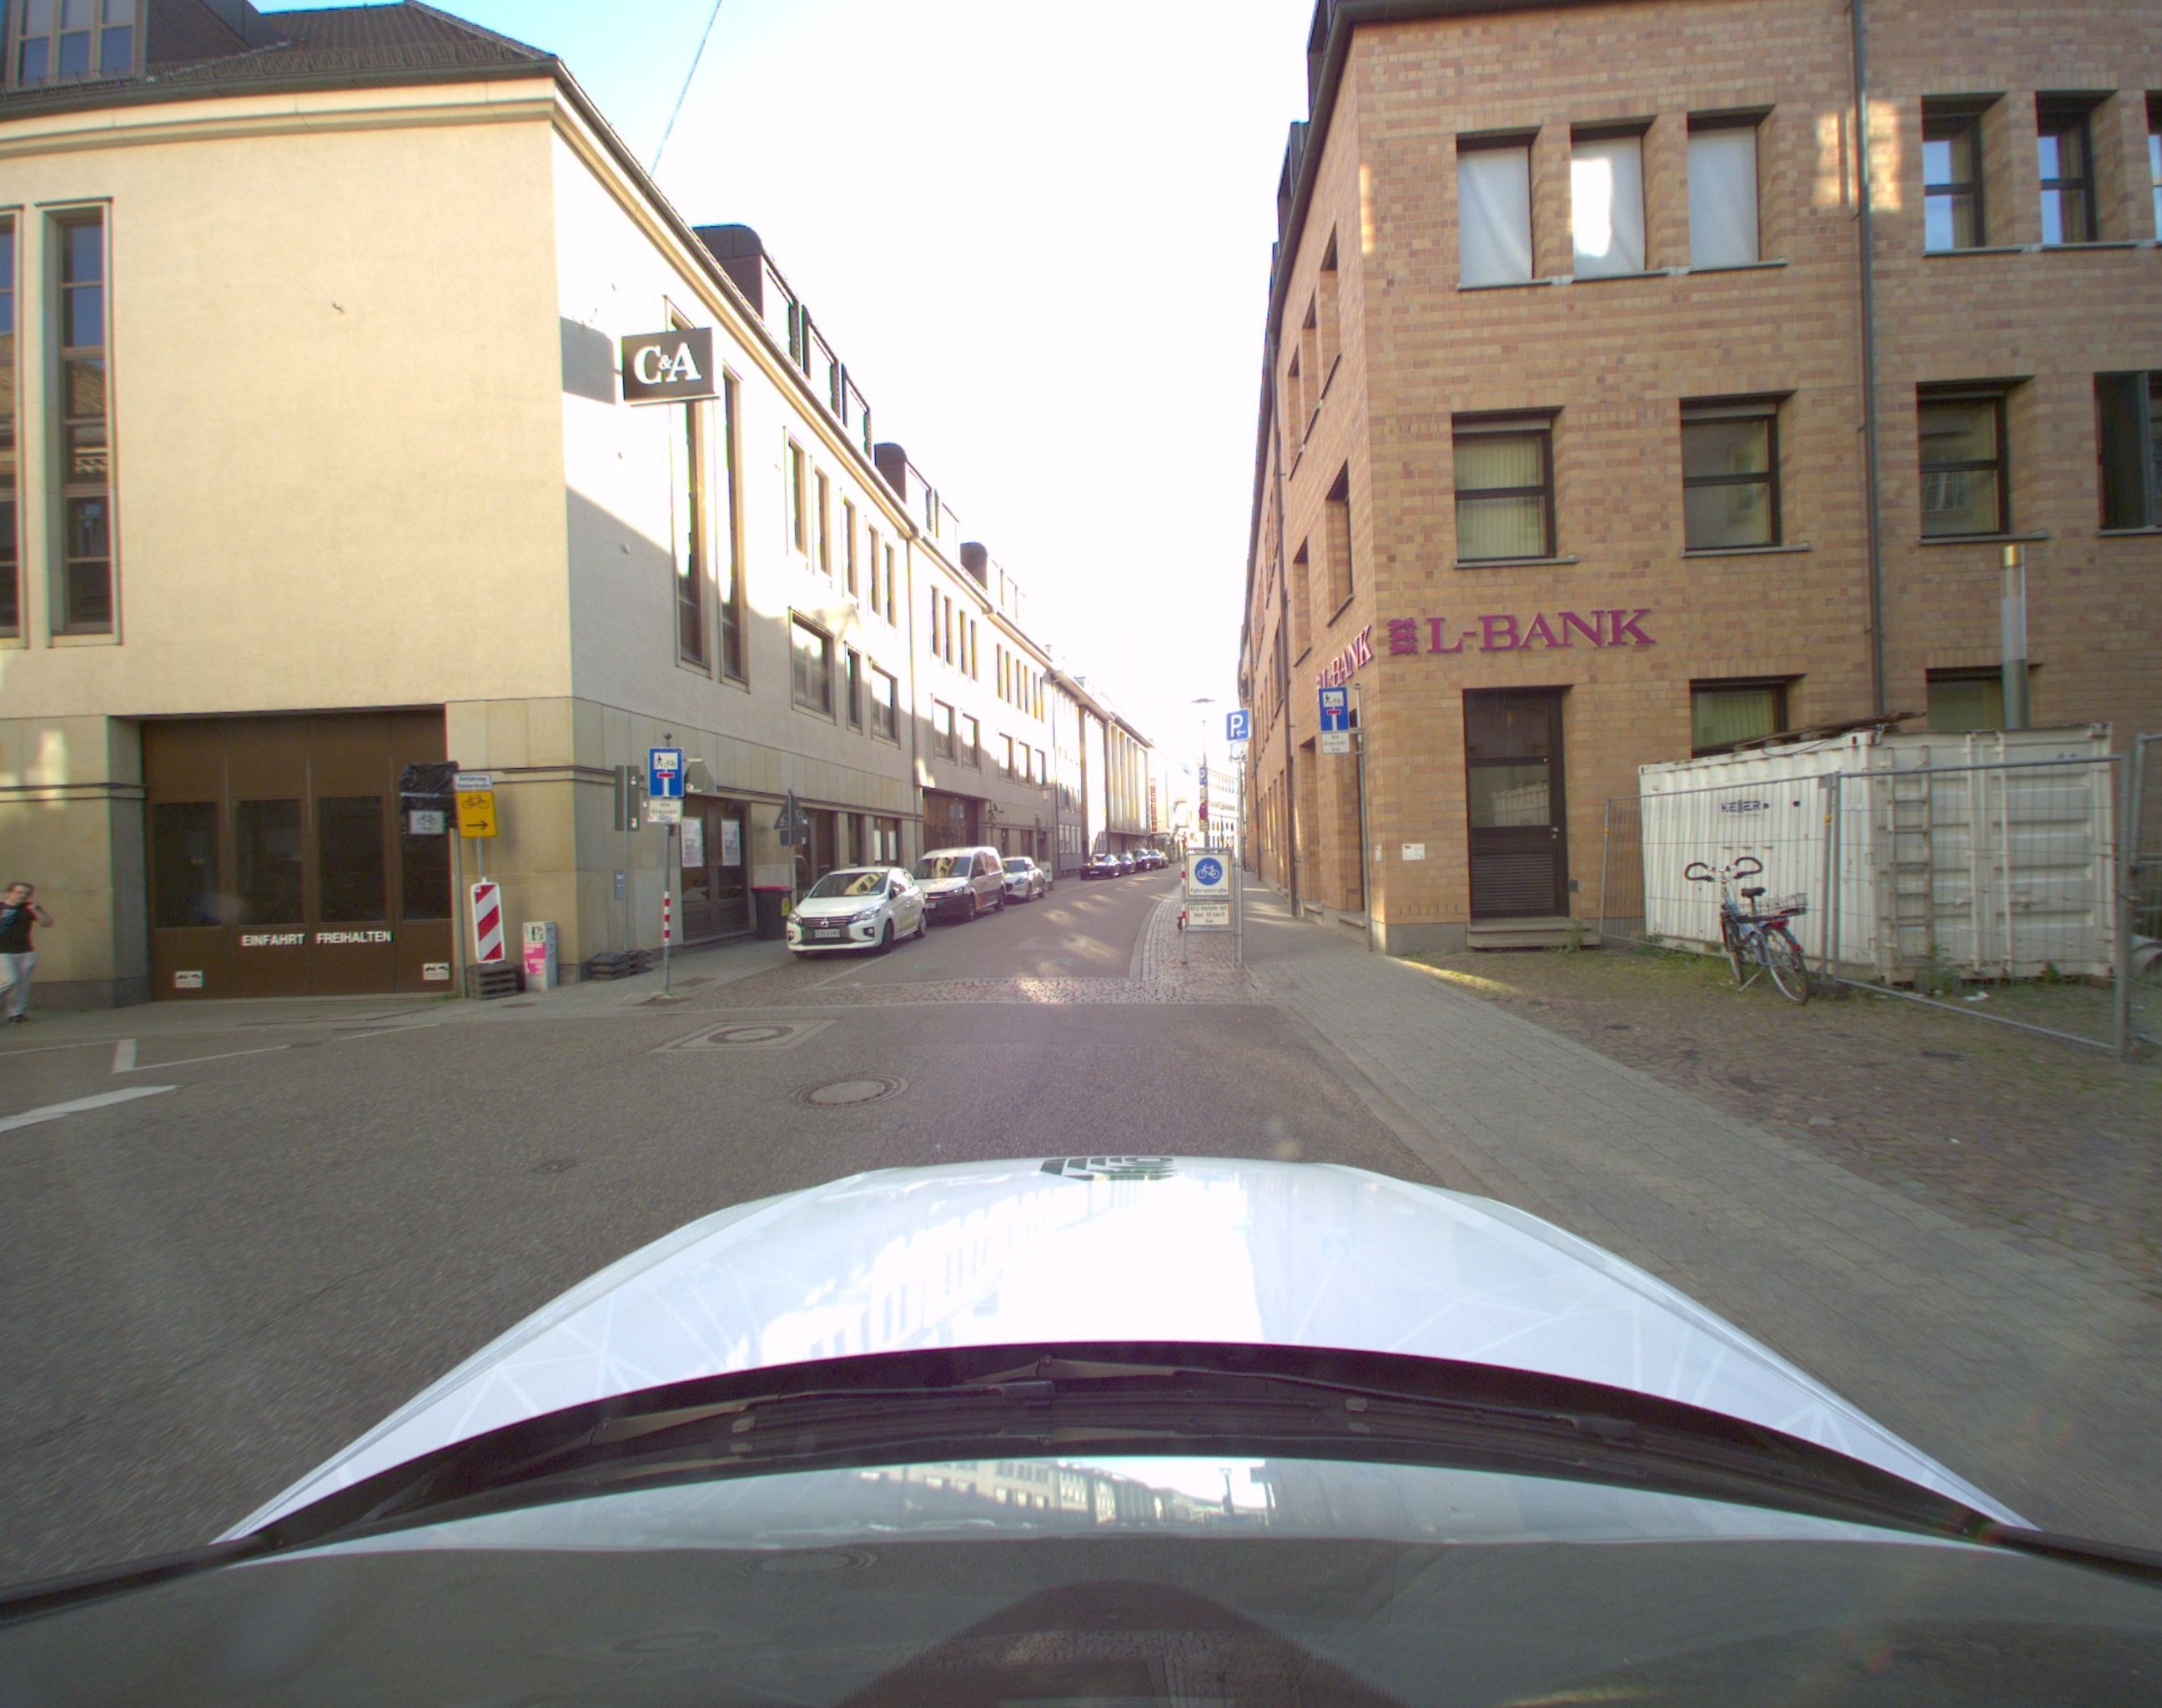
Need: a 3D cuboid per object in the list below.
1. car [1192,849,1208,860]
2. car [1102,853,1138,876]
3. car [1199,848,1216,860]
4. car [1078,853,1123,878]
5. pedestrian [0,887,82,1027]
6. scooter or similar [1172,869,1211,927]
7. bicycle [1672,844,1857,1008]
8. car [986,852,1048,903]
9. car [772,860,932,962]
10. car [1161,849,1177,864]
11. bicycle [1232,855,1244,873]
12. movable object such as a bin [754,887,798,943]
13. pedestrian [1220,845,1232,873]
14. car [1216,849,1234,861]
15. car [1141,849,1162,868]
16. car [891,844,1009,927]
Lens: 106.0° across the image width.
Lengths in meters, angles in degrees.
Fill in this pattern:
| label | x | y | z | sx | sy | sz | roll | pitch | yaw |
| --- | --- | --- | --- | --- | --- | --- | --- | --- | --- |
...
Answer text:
| label | x | y | z | sx | sy | sz | roll | pitch | yaw |
| --- | --- | --- | --- | --- | --- | --- | --- | --- | --- |
| car | 15.866 | 0.105 | 108.595 | 1.677 | 1.370 | 3.631 | -2 | 0 | 13 |
| car | 2.604 | 0.679 | 53.734 | 1.713 | 1.340 | 4.013 | -2 | 0 | 11 |
| car | 15.639 | 0.043 | 100.403 | 1.677 | 1.370 | 3.631 | -2 | 0 | 13 |
| car | 1.171 | 0.630 | 47.570 | 1.869 | 1.332 | 4.113 | -2 | 0 | 11 |
| pedestrian | -13.591 | 1.305 | 10.460 | 0.693 | 1.702 | 0.660 | -1 | 0 | -23 |
| scooter or similar | 2.204 | 0.873 | 16.259 | 0.767 | 1.136 | 0.269 | 0 | -1 | 3 |
| bicycle | 6.126 | 0.579 | 7.413 | 0.546 | 1.317 | 1.653 | -3 | 0 | 12 |
| car | -2.067 | 0.737 | 27.025 | 1.264 | 1.507 | 3.409 | -3 | 0 | 8 |
| car | -4.038 | 0.926 | 15.000 | 1.664 | 1.507 | 3.796 | -3 | 0 | 2 |
| car | 9.163 | 0.228 | 84.383 | 1.330 | 1.494 | 3.357 | -2 | 0 | 11 |
| bicycle | 9.198 | 0.563 | 47.795 | 0.508 | 0.994 | 2.654 | -2 | 0 | 8 |
| movable object such as a bin | -6.047 | 1.195 | 16.182 | 0.607 | 1.060 | 0.713 | 0 | -1 | -2 |
| pedestrian | 9.056 | 0.296 | 50.885 | 0.662 | 1.730 | 0.840 | 0 | -1 | 1 |
| car | 16.518 | 0.102 | 93.378 | 1.677 | 1.370 | 3.631 | -2 | 0 | 13 |
| car | 5.811 | 0.341 | 66.916 | 1.330 | 1.494 | 3.521 | -2 | 0 | 11 |
| car | -3.199 | 0.700 | 20.855 | 1.661 | 1.818 | 4.561 | -3 | 0 | 7 |
